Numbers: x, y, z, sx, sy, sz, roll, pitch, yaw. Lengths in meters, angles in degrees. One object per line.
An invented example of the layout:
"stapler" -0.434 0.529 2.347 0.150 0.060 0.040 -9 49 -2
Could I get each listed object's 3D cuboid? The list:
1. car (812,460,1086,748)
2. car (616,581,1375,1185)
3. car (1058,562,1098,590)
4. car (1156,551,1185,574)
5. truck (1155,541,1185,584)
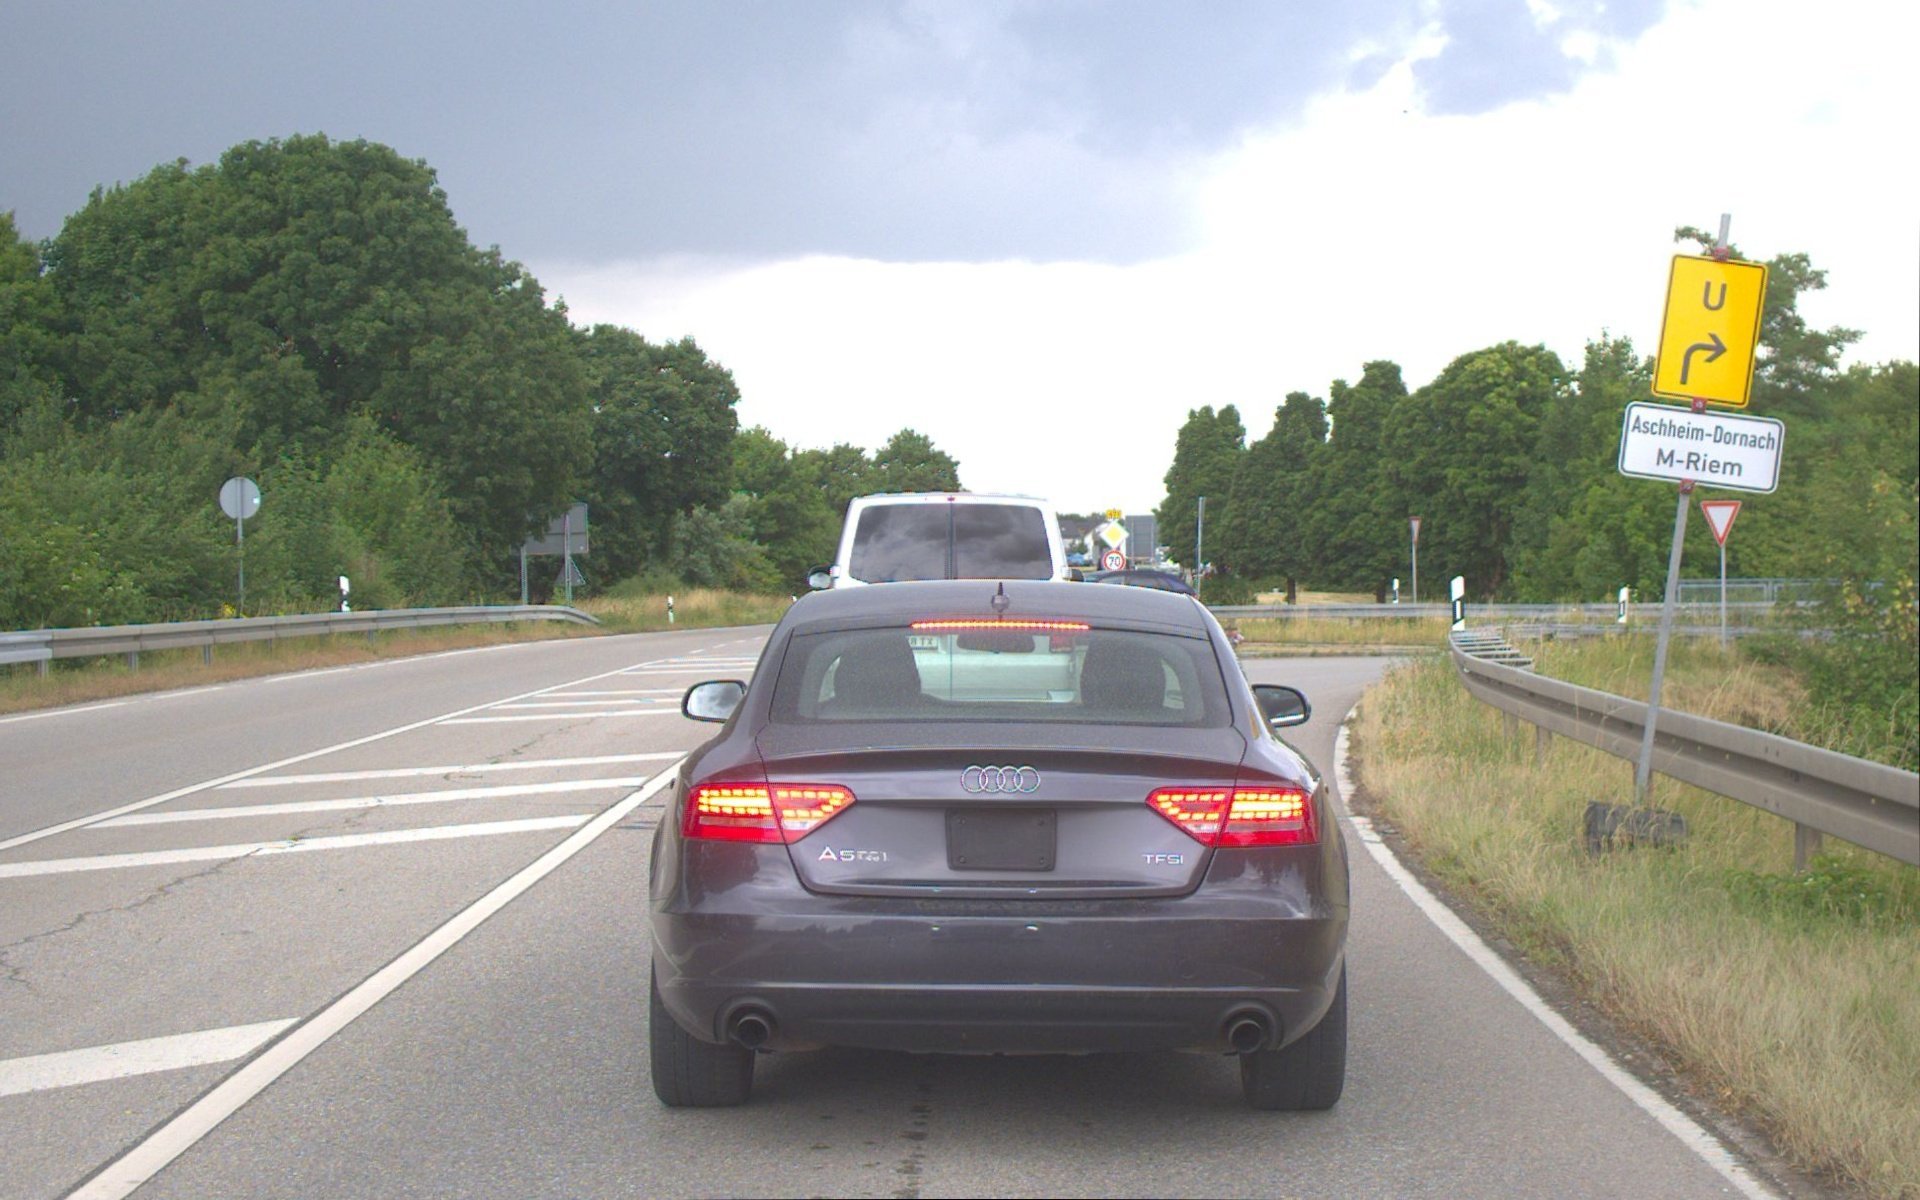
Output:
"car" -0.090 -0.009 26.211 1.910 2.007 4.000 1 1 0
"car" 0.066 0.657 9.742 1.779 1.394 3.337 0 1 -1
"car" 6.989 -1.429 203.674 2.205 1.577 4.379 1 1 0
"car" 15.659 -2.811 255.849 1.994 1.686 4.000 1 1 2
"truck" 14.475 -2.608 237.340 1.994 2.908 5.792 1 1 3
